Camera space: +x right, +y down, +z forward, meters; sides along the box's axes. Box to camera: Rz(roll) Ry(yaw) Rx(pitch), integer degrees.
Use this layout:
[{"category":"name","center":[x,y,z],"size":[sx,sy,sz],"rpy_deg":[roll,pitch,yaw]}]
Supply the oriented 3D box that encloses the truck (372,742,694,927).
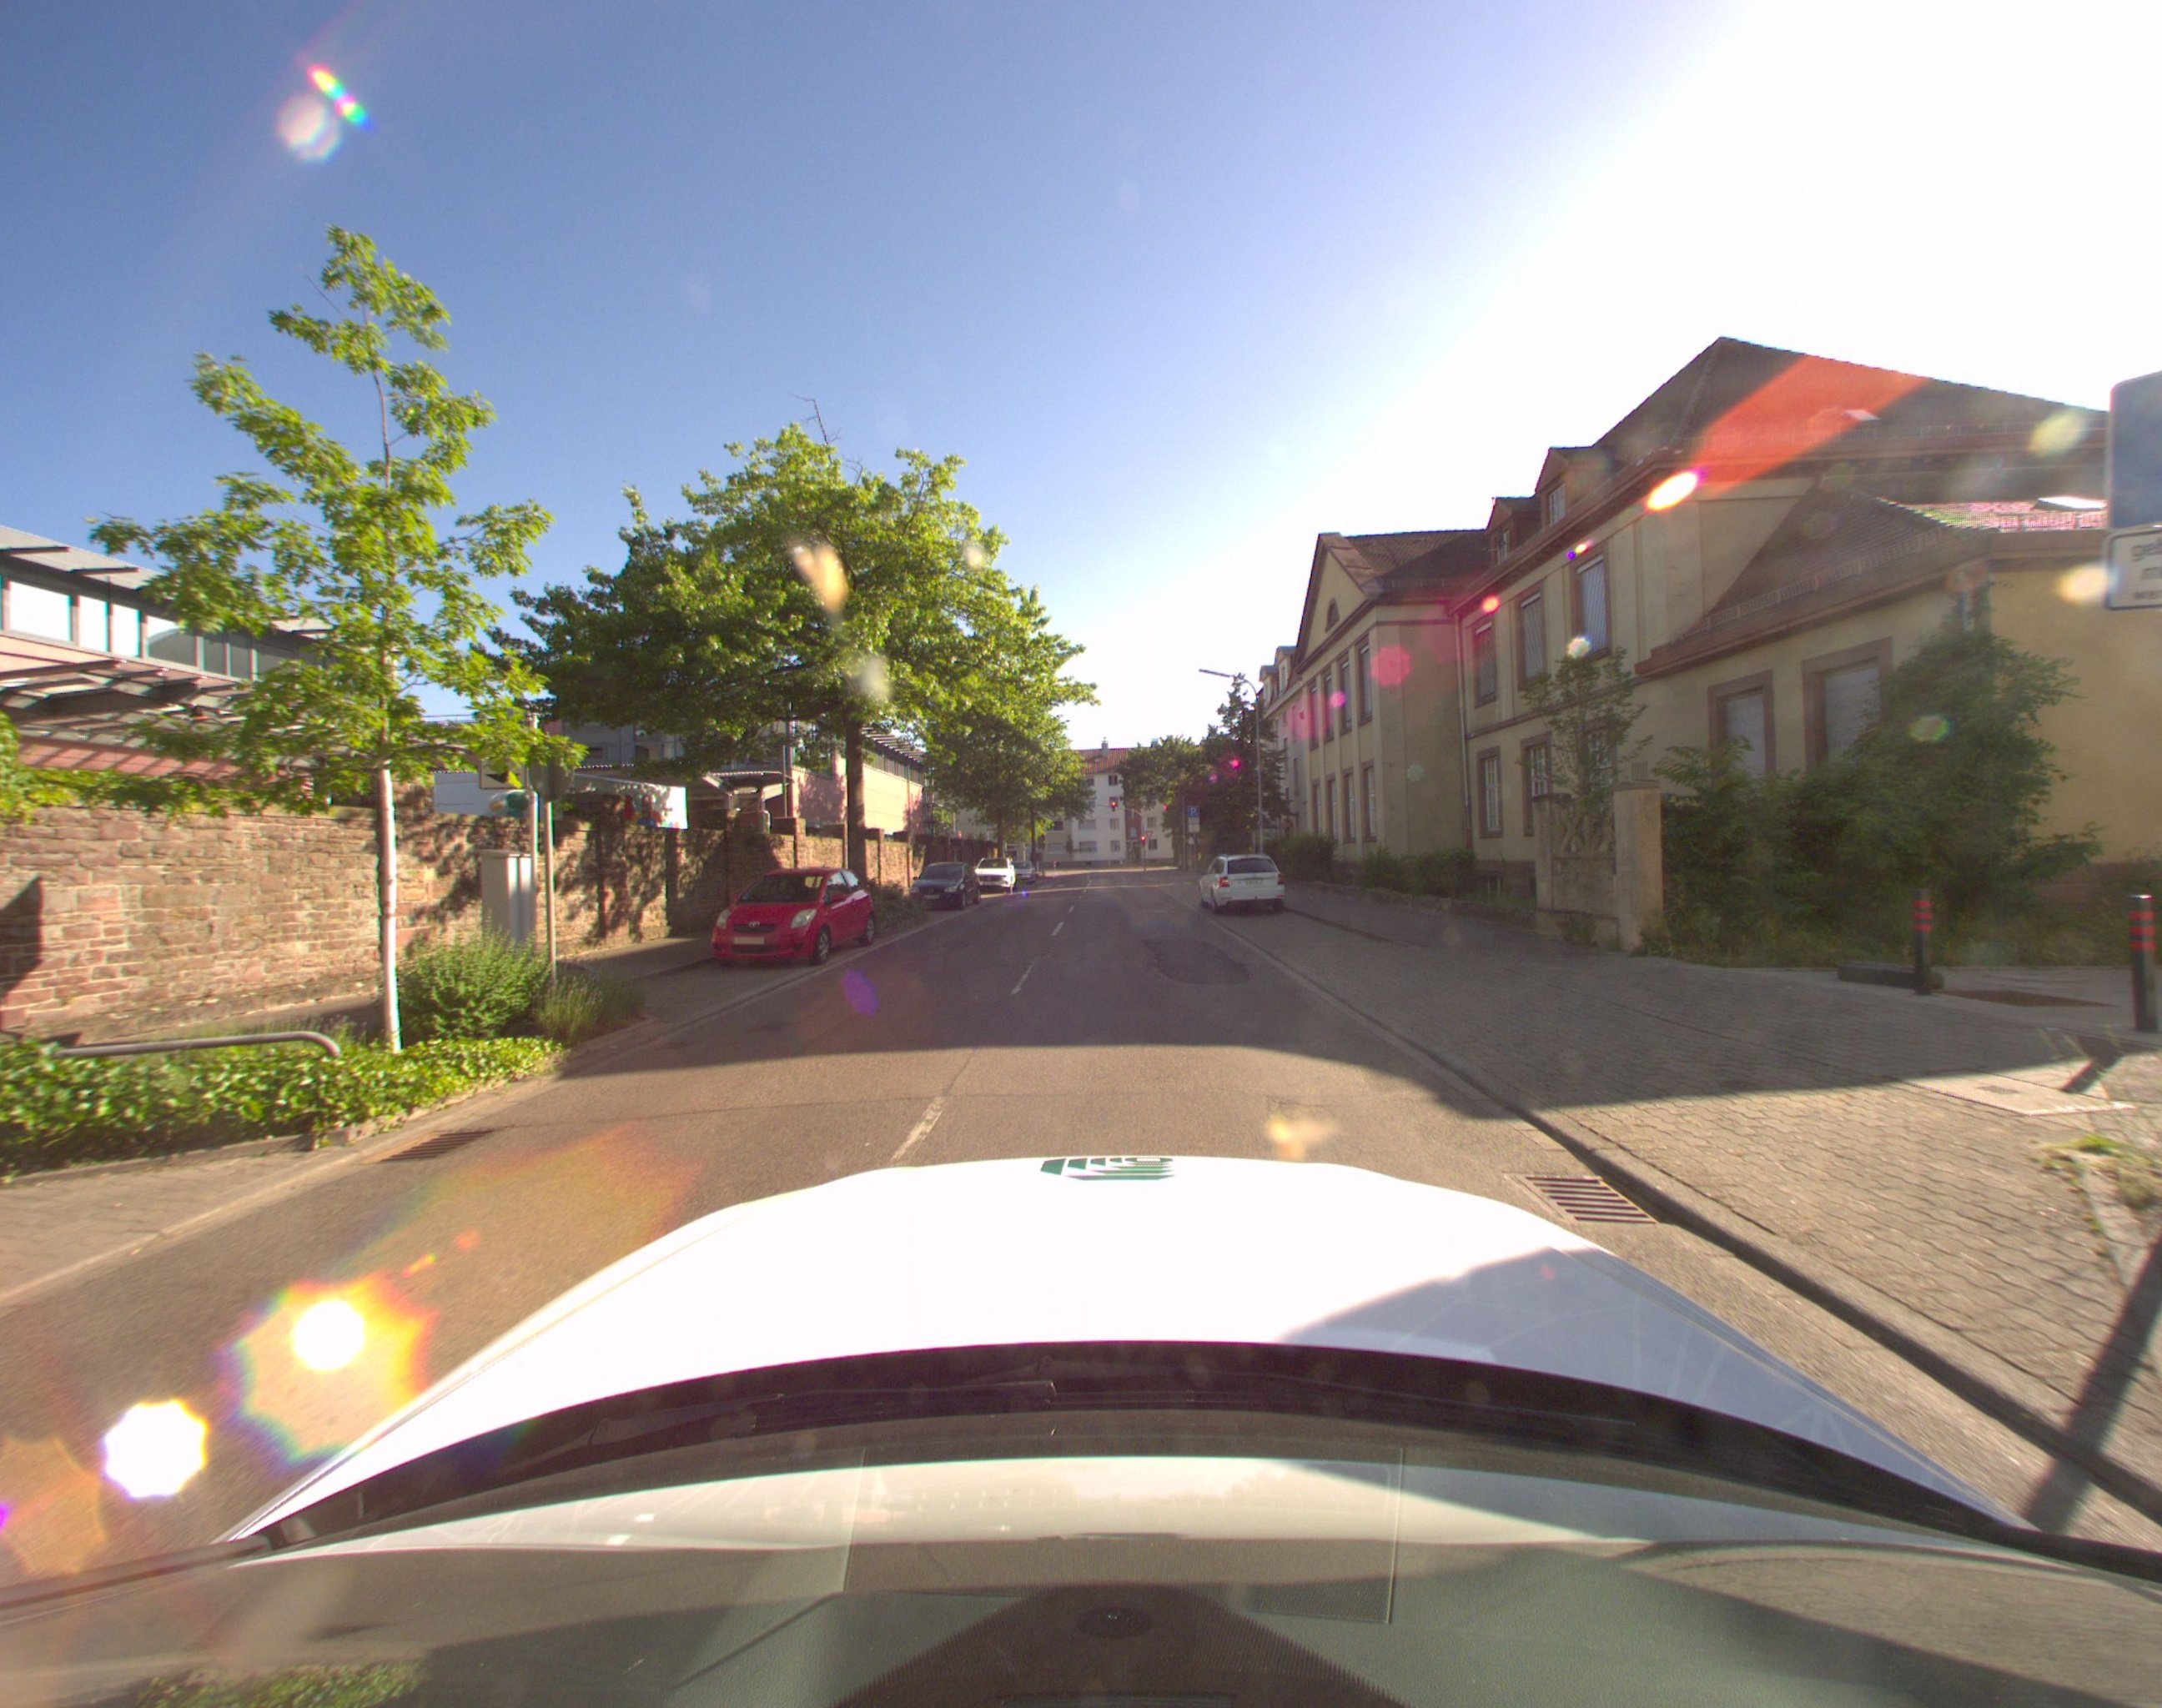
[{"category":"truck","center":[-12.788,-0.387,20.091],"size":[2.722,3.711,7.430],"rpy_deg":[0,0,1]}]

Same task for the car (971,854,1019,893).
[{"category":"car","center":[-3.928,0.854,37.831],"size":[1.714,1.683,4.351],"rpy_deg":[-1,0,0]}]

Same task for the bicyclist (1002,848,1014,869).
[{"category":"bicyclist","center":[-6.282,0.378,70.406],"size":[0.793,1.757,0.605],"rpy_deg":[-1,-1,-40]}]

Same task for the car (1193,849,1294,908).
[{"category":"car","center":[4.136,0.585,21.437],"size":[1.826,1.323,4.497],"rpy_deg":[-2,0,1]}]

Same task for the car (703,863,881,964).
[{"category":"car","center":[-4.761,0.911,14.003],"size":[1.602,1.459,3.710],"rpy_deg":[0,0,2]}]

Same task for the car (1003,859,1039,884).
[{"category":"car","center":[-3.621,1.043,49.860],"size":[1.720,1.475,4.479],"rpy_deg":[0,0,1]}]

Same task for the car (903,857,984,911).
[{"category":"car","center":[-4.474,0.938,27.109],"size":[1.730,1.592,4.110],"rpy_deg":[-1,0,3]}]

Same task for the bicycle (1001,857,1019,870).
[{"category":"bicycle","center":[-6.160,0.852,70.496],"size":[1.698,1.080,0.347],"rpy_deg":[0,-1,-40]}]
